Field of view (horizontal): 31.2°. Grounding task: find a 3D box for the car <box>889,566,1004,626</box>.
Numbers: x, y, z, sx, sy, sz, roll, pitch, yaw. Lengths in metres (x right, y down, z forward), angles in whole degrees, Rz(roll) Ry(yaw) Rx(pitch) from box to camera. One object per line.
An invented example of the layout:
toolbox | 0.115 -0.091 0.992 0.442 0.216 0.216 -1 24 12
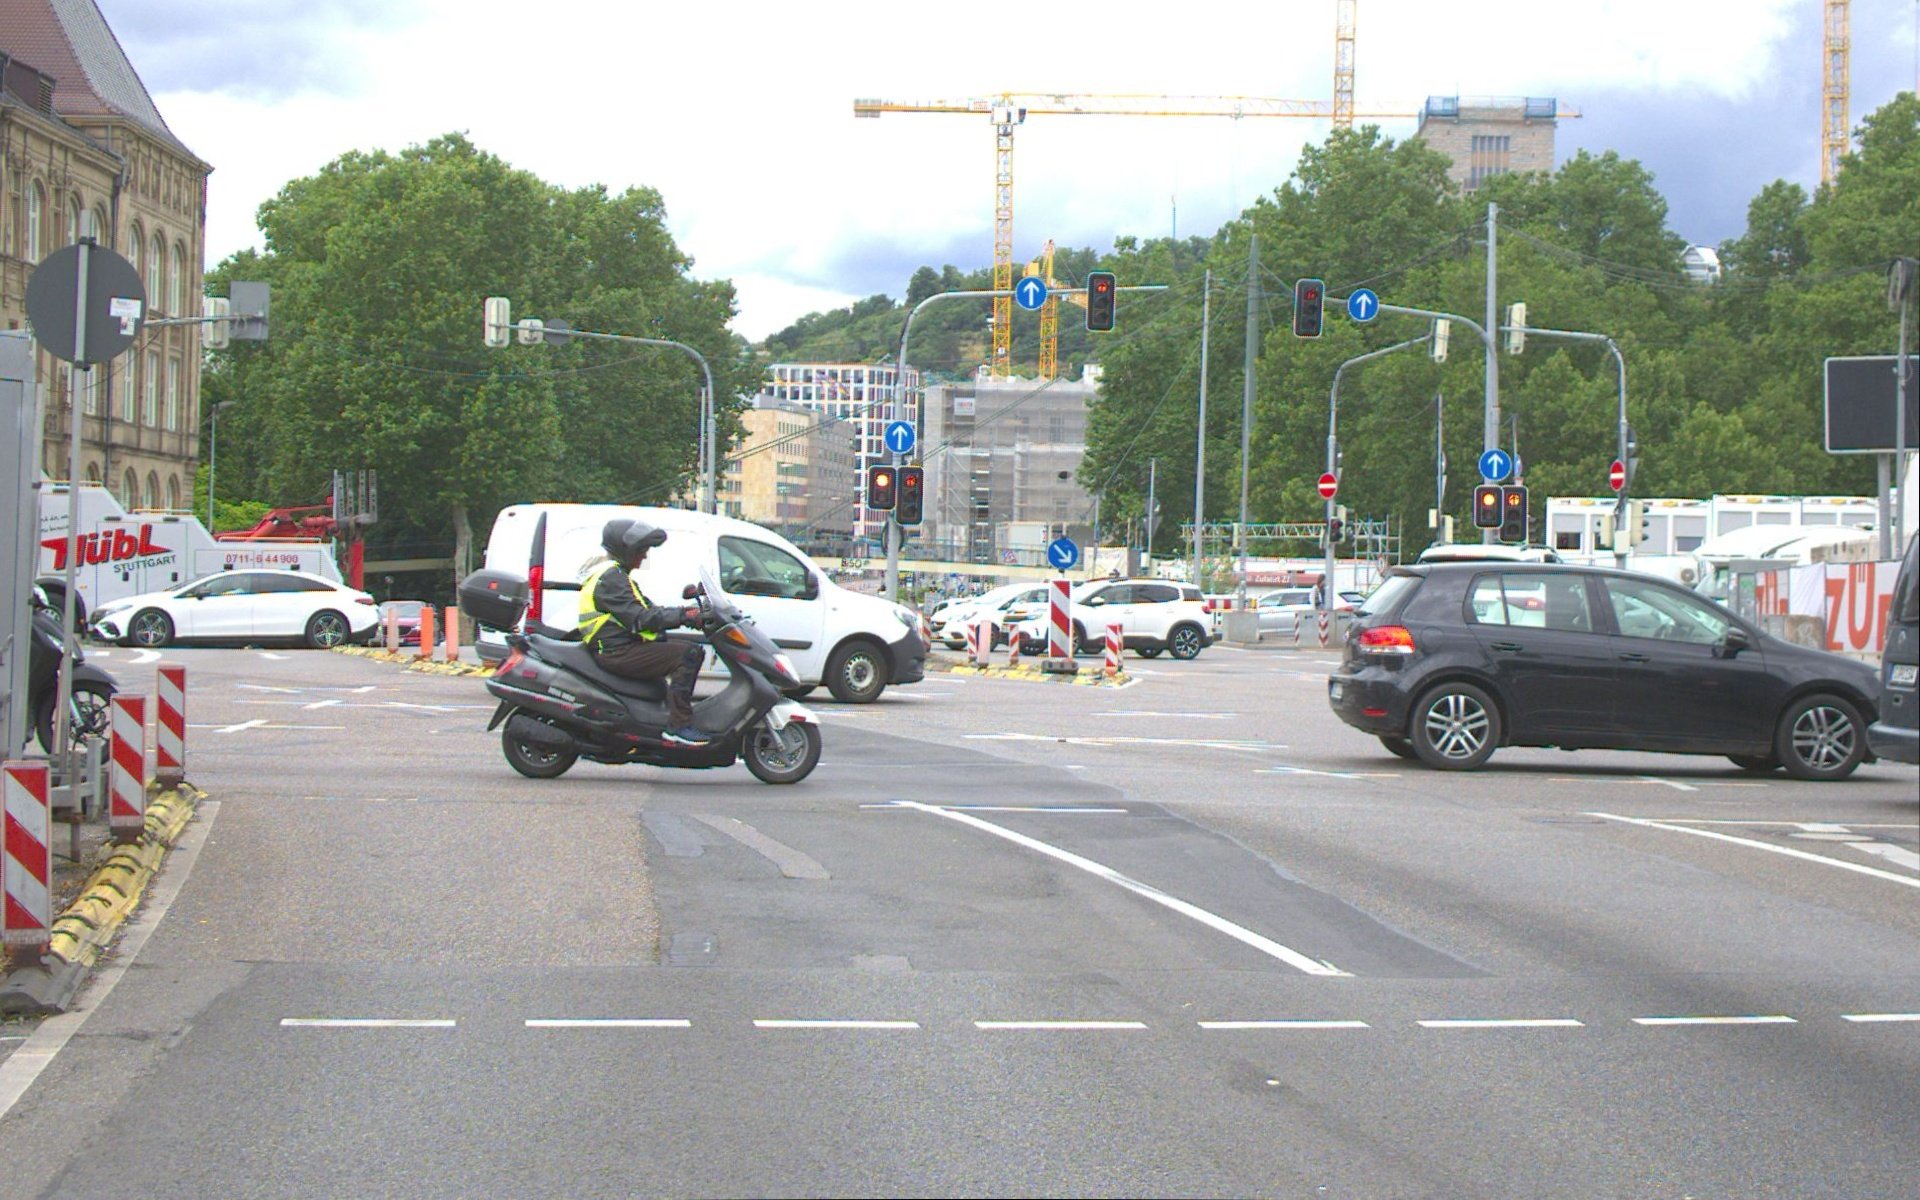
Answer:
car | -0.456 -0.147 109.691 1.993 1.831 4.001 1 1 -28

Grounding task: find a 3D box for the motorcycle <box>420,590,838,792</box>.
motorcycle | -1.969 0.537 20.700 2.422 1.151 0.817 1 0 0

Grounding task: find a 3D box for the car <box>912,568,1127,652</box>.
car | 1.276 0.217 73.498 4.146 1.718 1.909 1 1 -23

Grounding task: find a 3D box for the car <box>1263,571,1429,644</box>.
car | 10.243 0.185 91.423 3.997 1.831 1.995 1 1 44

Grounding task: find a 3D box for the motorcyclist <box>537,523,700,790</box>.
motorcyclist | -2.047 0.330 20.700 0.878 1.565 0.817 1 0 0

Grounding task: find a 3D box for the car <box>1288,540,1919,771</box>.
car | 4.567 0.377 24.684 4.106 1.542 2.000 1 0 -4

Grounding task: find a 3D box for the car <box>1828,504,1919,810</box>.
car | 7.766 0.353 21.217 4.269 1.799 2.000 1 0 -1

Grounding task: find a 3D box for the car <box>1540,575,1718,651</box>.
car | 17.090 0.315 87.896 3.997 1.831 1.995 1 1 44

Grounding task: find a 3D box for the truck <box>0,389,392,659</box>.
truck | -15.999 -1.403 65.491 9.712 4.943 3.114 1 0 -23

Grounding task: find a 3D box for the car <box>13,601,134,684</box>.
car | -20.897 0.979 81.173 1.993 1.831 4.001 1 1 -3

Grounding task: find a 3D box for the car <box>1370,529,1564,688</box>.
car | 6.080 0.075 40.848 1.994 1.753 4.503 1 1 12

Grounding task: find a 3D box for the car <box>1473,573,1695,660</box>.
car | 14.211 0.380 78.321 4.564 1.768 2.001 1 2 -25

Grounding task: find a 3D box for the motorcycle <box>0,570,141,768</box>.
motorcycle | -6.061 0.394 20.527 2.167 1.151 0.652 1 0 0

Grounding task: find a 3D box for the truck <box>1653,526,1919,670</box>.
truck | 18.979 -0.034 76.887 6.580 3.135 2.368 1 0 -23

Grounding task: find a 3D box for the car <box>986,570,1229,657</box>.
car | 3.037 0.270 70.654 4.583 1.718 1.909 1 1 -23

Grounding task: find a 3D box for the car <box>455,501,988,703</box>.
car | -2.276 0.022 32.865 4.705 1.827 1.870 1 1 -24

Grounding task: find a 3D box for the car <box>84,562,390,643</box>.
car | -13.245 0.050 63.004 5.132 1.415 2.238 1 1 -23

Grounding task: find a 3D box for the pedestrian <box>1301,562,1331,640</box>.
pedestrian | 8.460 0.021 81.750 0.585 1.834 0.604 1 0 -4
